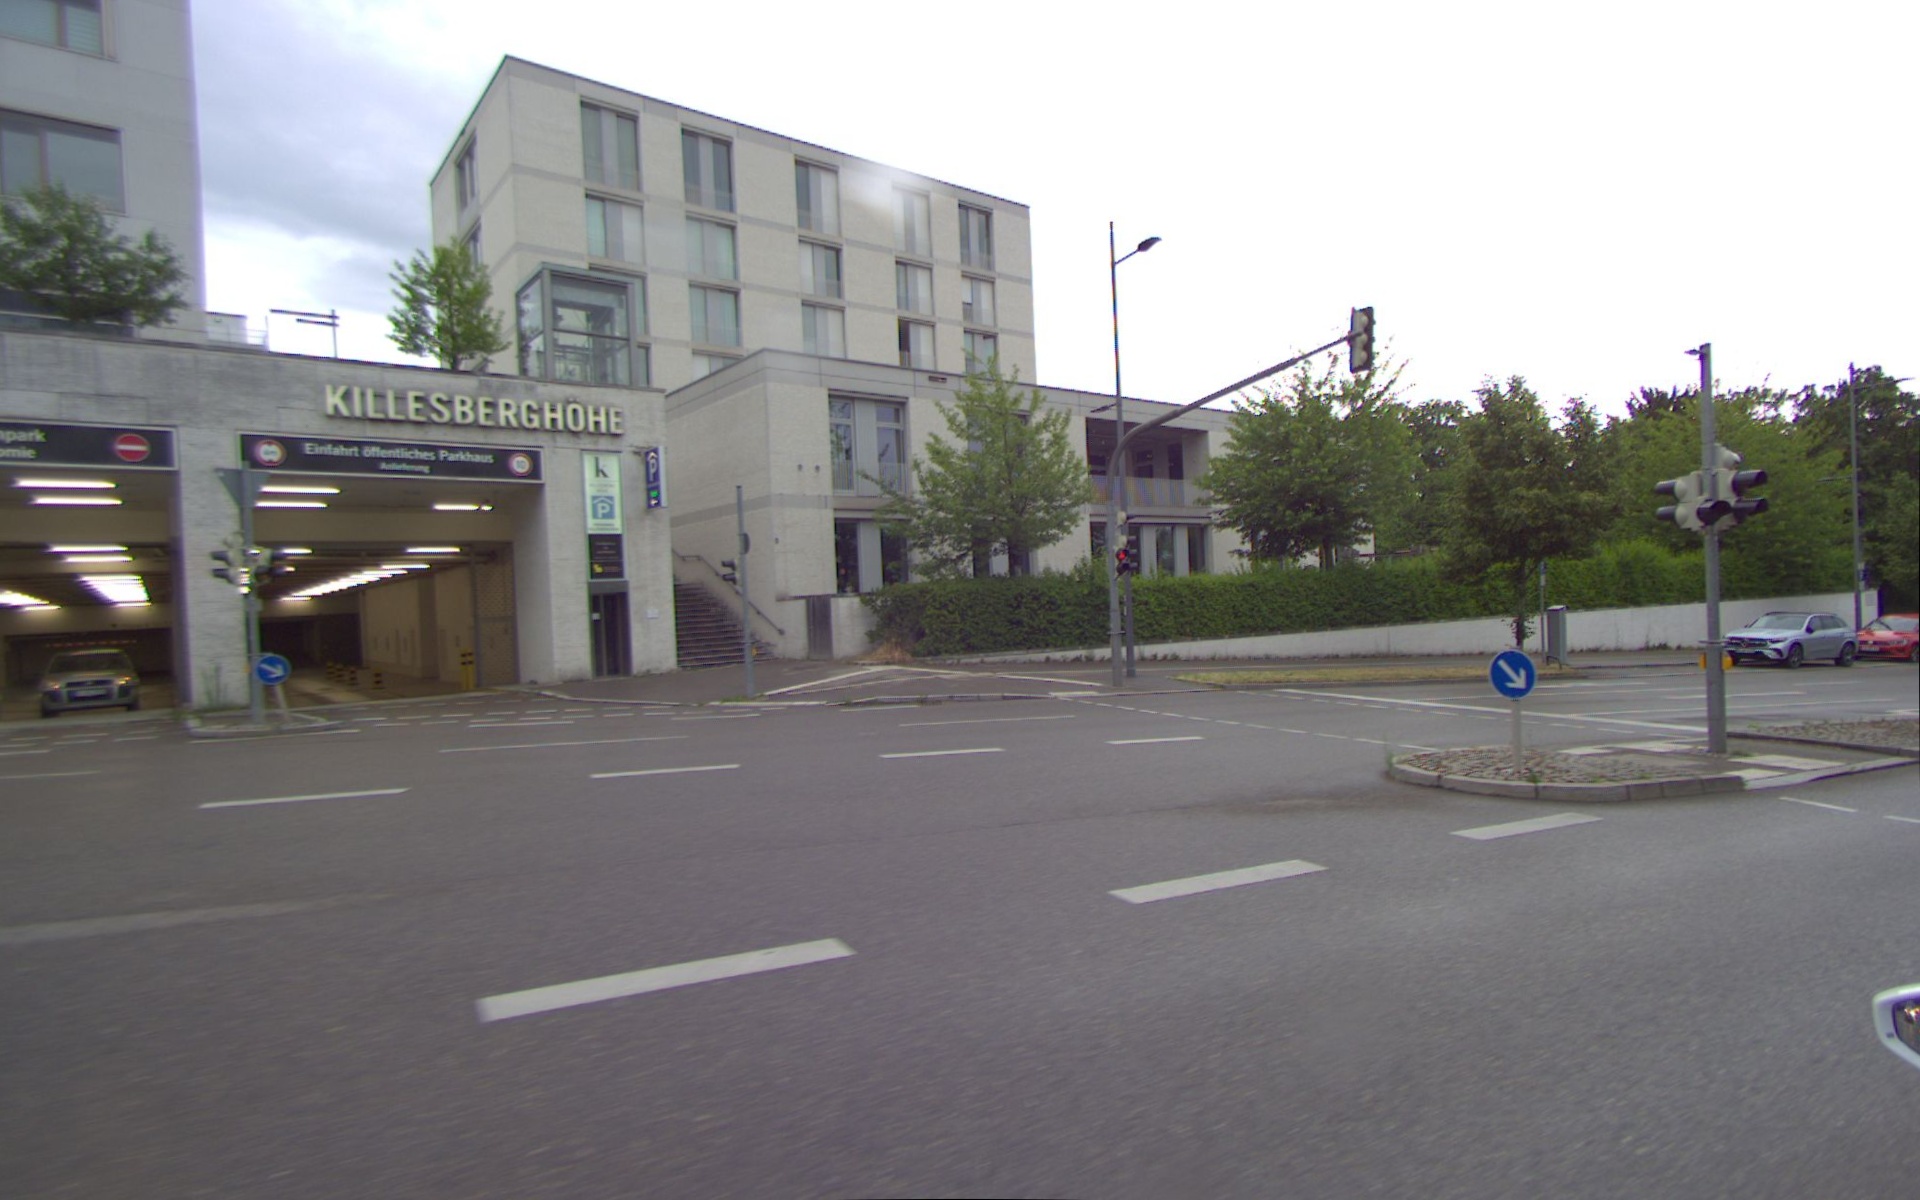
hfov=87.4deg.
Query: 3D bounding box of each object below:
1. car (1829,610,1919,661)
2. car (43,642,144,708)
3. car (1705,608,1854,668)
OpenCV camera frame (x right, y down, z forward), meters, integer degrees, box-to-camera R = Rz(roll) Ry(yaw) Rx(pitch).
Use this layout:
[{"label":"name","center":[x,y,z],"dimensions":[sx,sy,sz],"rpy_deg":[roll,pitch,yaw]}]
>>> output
[{"label":"car","center":[31.892,1.177,34.215],"dimensions":[4.163,1.596,1.870],"rpy_deg":[0,1,-24]},{"label":"car","center":[-19.994,1.692,23.294],"dimensions":[1.647,1.369,3.664],"rpy_deg":[0,-2,-39]},{"label":"car","center":[25.471,1.130,31.222],"dimensions":[4.033,1.662,1.849],"rpy_deg":[0,2,-22]}]
